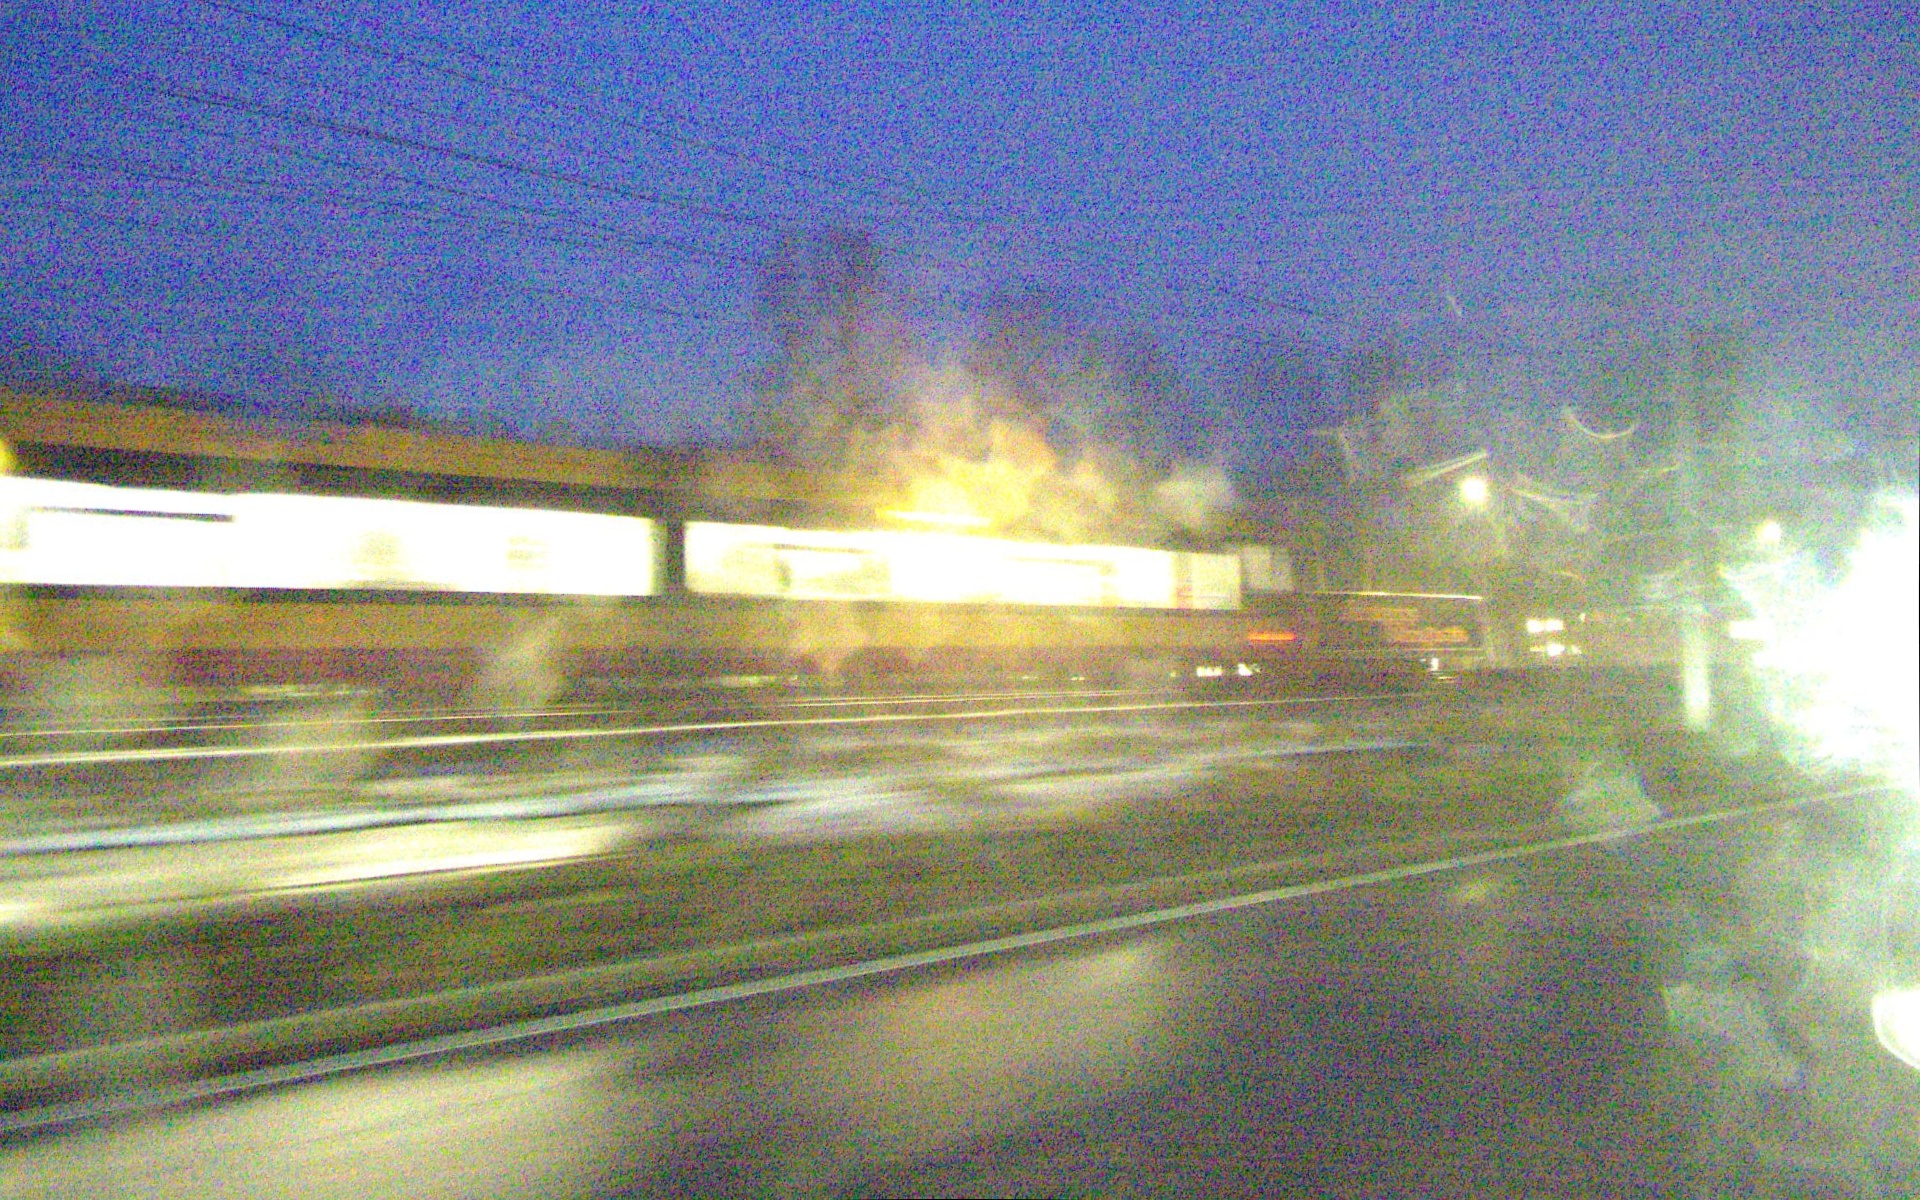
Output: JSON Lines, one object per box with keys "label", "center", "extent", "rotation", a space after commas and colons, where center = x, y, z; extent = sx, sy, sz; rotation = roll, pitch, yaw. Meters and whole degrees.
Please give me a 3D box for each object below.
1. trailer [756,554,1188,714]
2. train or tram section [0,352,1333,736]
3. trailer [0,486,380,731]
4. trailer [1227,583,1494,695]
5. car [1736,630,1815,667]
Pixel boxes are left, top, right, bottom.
{"label": "trailer", "center": [0.913, 1.216, 35.176], "extent": [15.339, 4.671, 3.950], "rotation": [2, 0, -31]}
{"label": "train or tram section", "center": [-8.828, -0.519, 12.214], "extent": [36.719, 3.865, 2.683], "rotation": [2, 0, -31]}
{"label": "trailer", "center": [-21.363, 0.145, 22.191], "extent": [14.667, 5.079, 3.950], "rotation": [2, 0, -31]}
{"label": "trailer", "center": [19.086, 1.814, 47.206], "extent": [14.086, 4.671, 3.950], "rotation": [2, 0, -31]}
{"label": "car", "center": [40.234, 2.360, 49.526], "extent": [4.172, 1.716, 1.776], "rotation": [1, -1, -32]}
